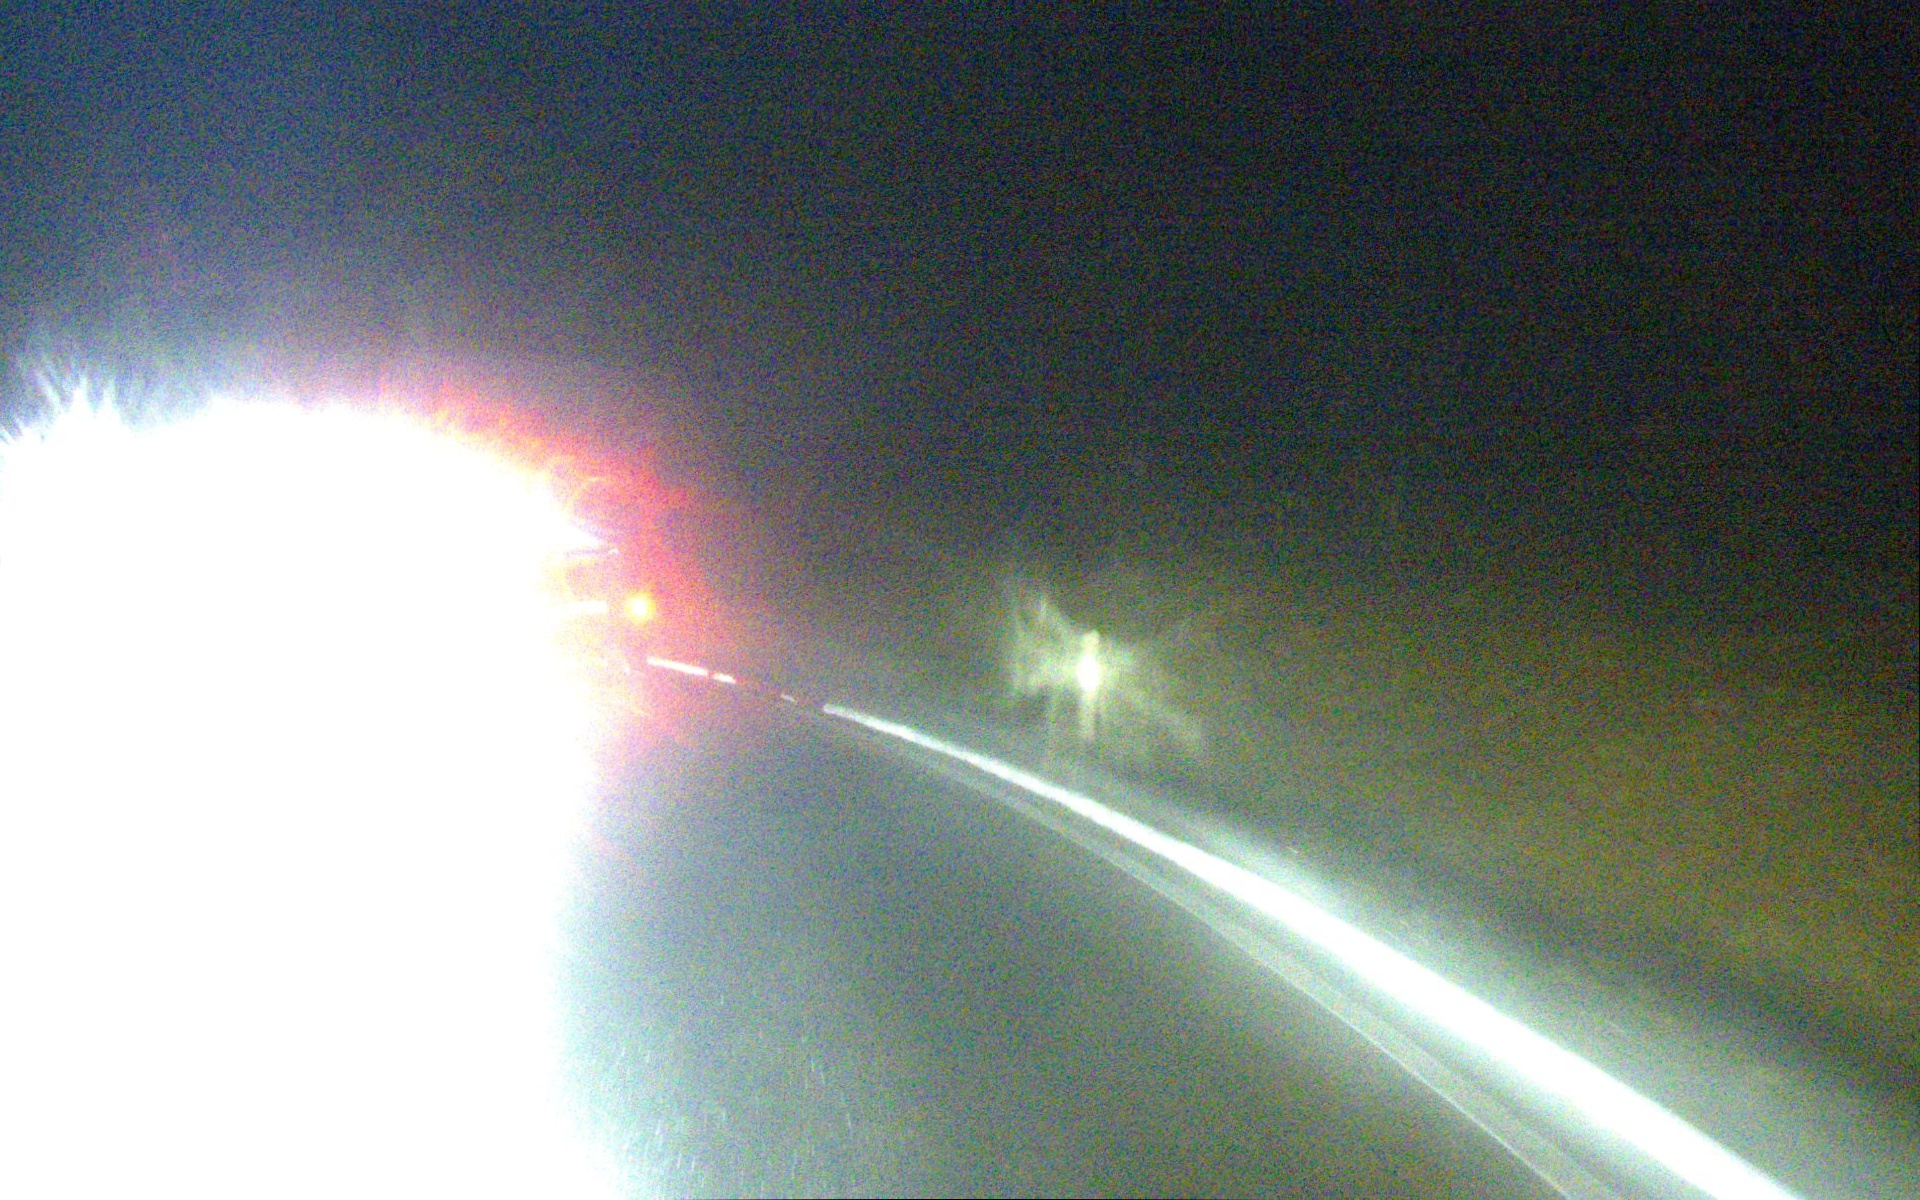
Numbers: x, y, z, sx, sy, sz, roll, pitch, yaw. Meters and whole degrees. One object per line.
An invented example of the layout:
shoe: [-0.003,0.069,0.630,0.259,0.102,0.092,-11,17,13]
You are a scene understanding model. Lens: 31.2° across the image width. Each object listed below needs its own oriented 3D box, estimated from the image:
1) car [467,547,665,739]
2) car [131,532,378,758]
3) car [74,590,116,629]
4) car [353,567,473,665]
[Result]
car: [-5.807,0.542,50.020,2.538,2.489,5.716,0,2,-10]
car: [-6.889,0.425,34.016,1.993,2.007,4.846,2,0,-8]
car: [-44.059,0.473,175.094,1.753,1.728,4.002,2,2,-18]
car: [-11.985,0.369,75.190,1.993,2.007,4.001,2,-1,-17]
